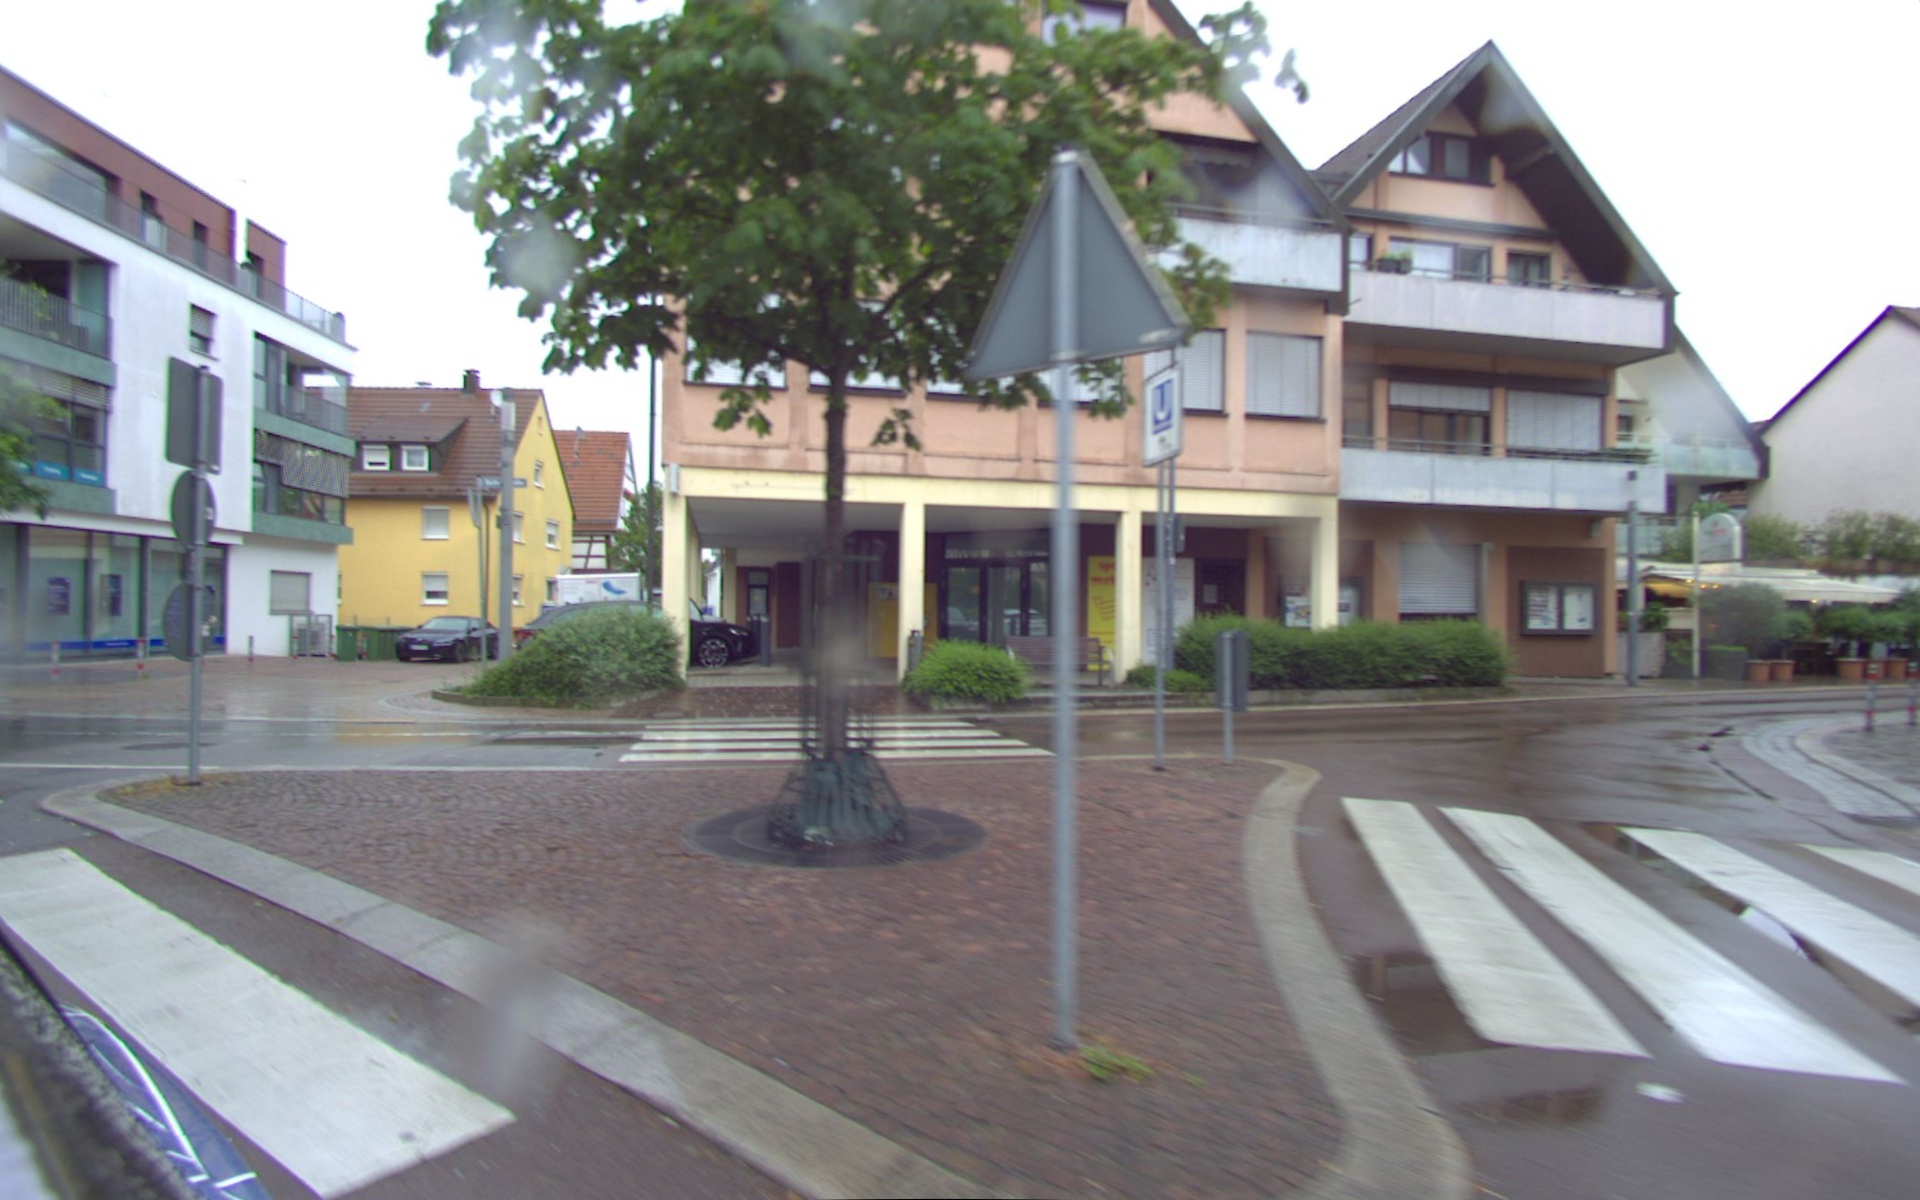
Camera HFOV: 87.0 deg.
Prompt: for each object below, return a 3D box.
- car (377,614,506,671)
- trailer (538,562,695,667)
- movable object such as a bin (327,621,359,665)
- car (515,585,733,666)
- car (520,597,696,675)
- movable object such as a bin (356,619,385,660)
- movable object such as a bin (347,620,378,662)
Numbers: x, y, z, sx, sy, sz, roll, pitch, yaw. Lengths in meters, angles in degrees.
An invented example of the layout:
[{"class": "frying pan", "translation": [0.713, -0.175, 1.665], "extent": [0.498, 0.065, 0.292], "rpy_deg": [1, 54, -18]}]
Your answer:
[{"class": "car", "translation": [-16.588, 1.302, 32.686], "extent": [1.971, 1.519, 4.547], "rpy_deg": [2, 1, -2]}, {"class": "trailer", "translation": [-7.521, 0.319, 22.437], "extent": [3.042, 2.104, 1.840], "rpy_deg": [-3, -1, -12]}, {"class": "movable object such as a bin", "translation": [-18.216, 1.261, 29.876], "extent": [0.622, 1.242, 0.524], "rpy_deg": [1, 0, -1]}, {"class": "car", "translation": [-6.568, 0.486, 20.212], "extent": [3.934, 1.519, 1.841], "rpy_deg": [1, 1, -12]}, {"class": "car", "translation": [-8.743, 0.893, 25.468], "extent": [3.934, 1.684, 1.840], "rpy_deg": [-3, -1, -12]}, {"class": "movable object such as a bin", "translation": [-18.285, 1.228, 31.395], "extent": [0.622, 1.242, 0.524], "rpy_deg": [1, 0, -1]}, {"class": "movable object such as a bin", "translation": [-18.222, 1.254, 30.865], "extent": [0.622, 1.242, 0.524], "rpy_deg": [1, 0, -1]}]
